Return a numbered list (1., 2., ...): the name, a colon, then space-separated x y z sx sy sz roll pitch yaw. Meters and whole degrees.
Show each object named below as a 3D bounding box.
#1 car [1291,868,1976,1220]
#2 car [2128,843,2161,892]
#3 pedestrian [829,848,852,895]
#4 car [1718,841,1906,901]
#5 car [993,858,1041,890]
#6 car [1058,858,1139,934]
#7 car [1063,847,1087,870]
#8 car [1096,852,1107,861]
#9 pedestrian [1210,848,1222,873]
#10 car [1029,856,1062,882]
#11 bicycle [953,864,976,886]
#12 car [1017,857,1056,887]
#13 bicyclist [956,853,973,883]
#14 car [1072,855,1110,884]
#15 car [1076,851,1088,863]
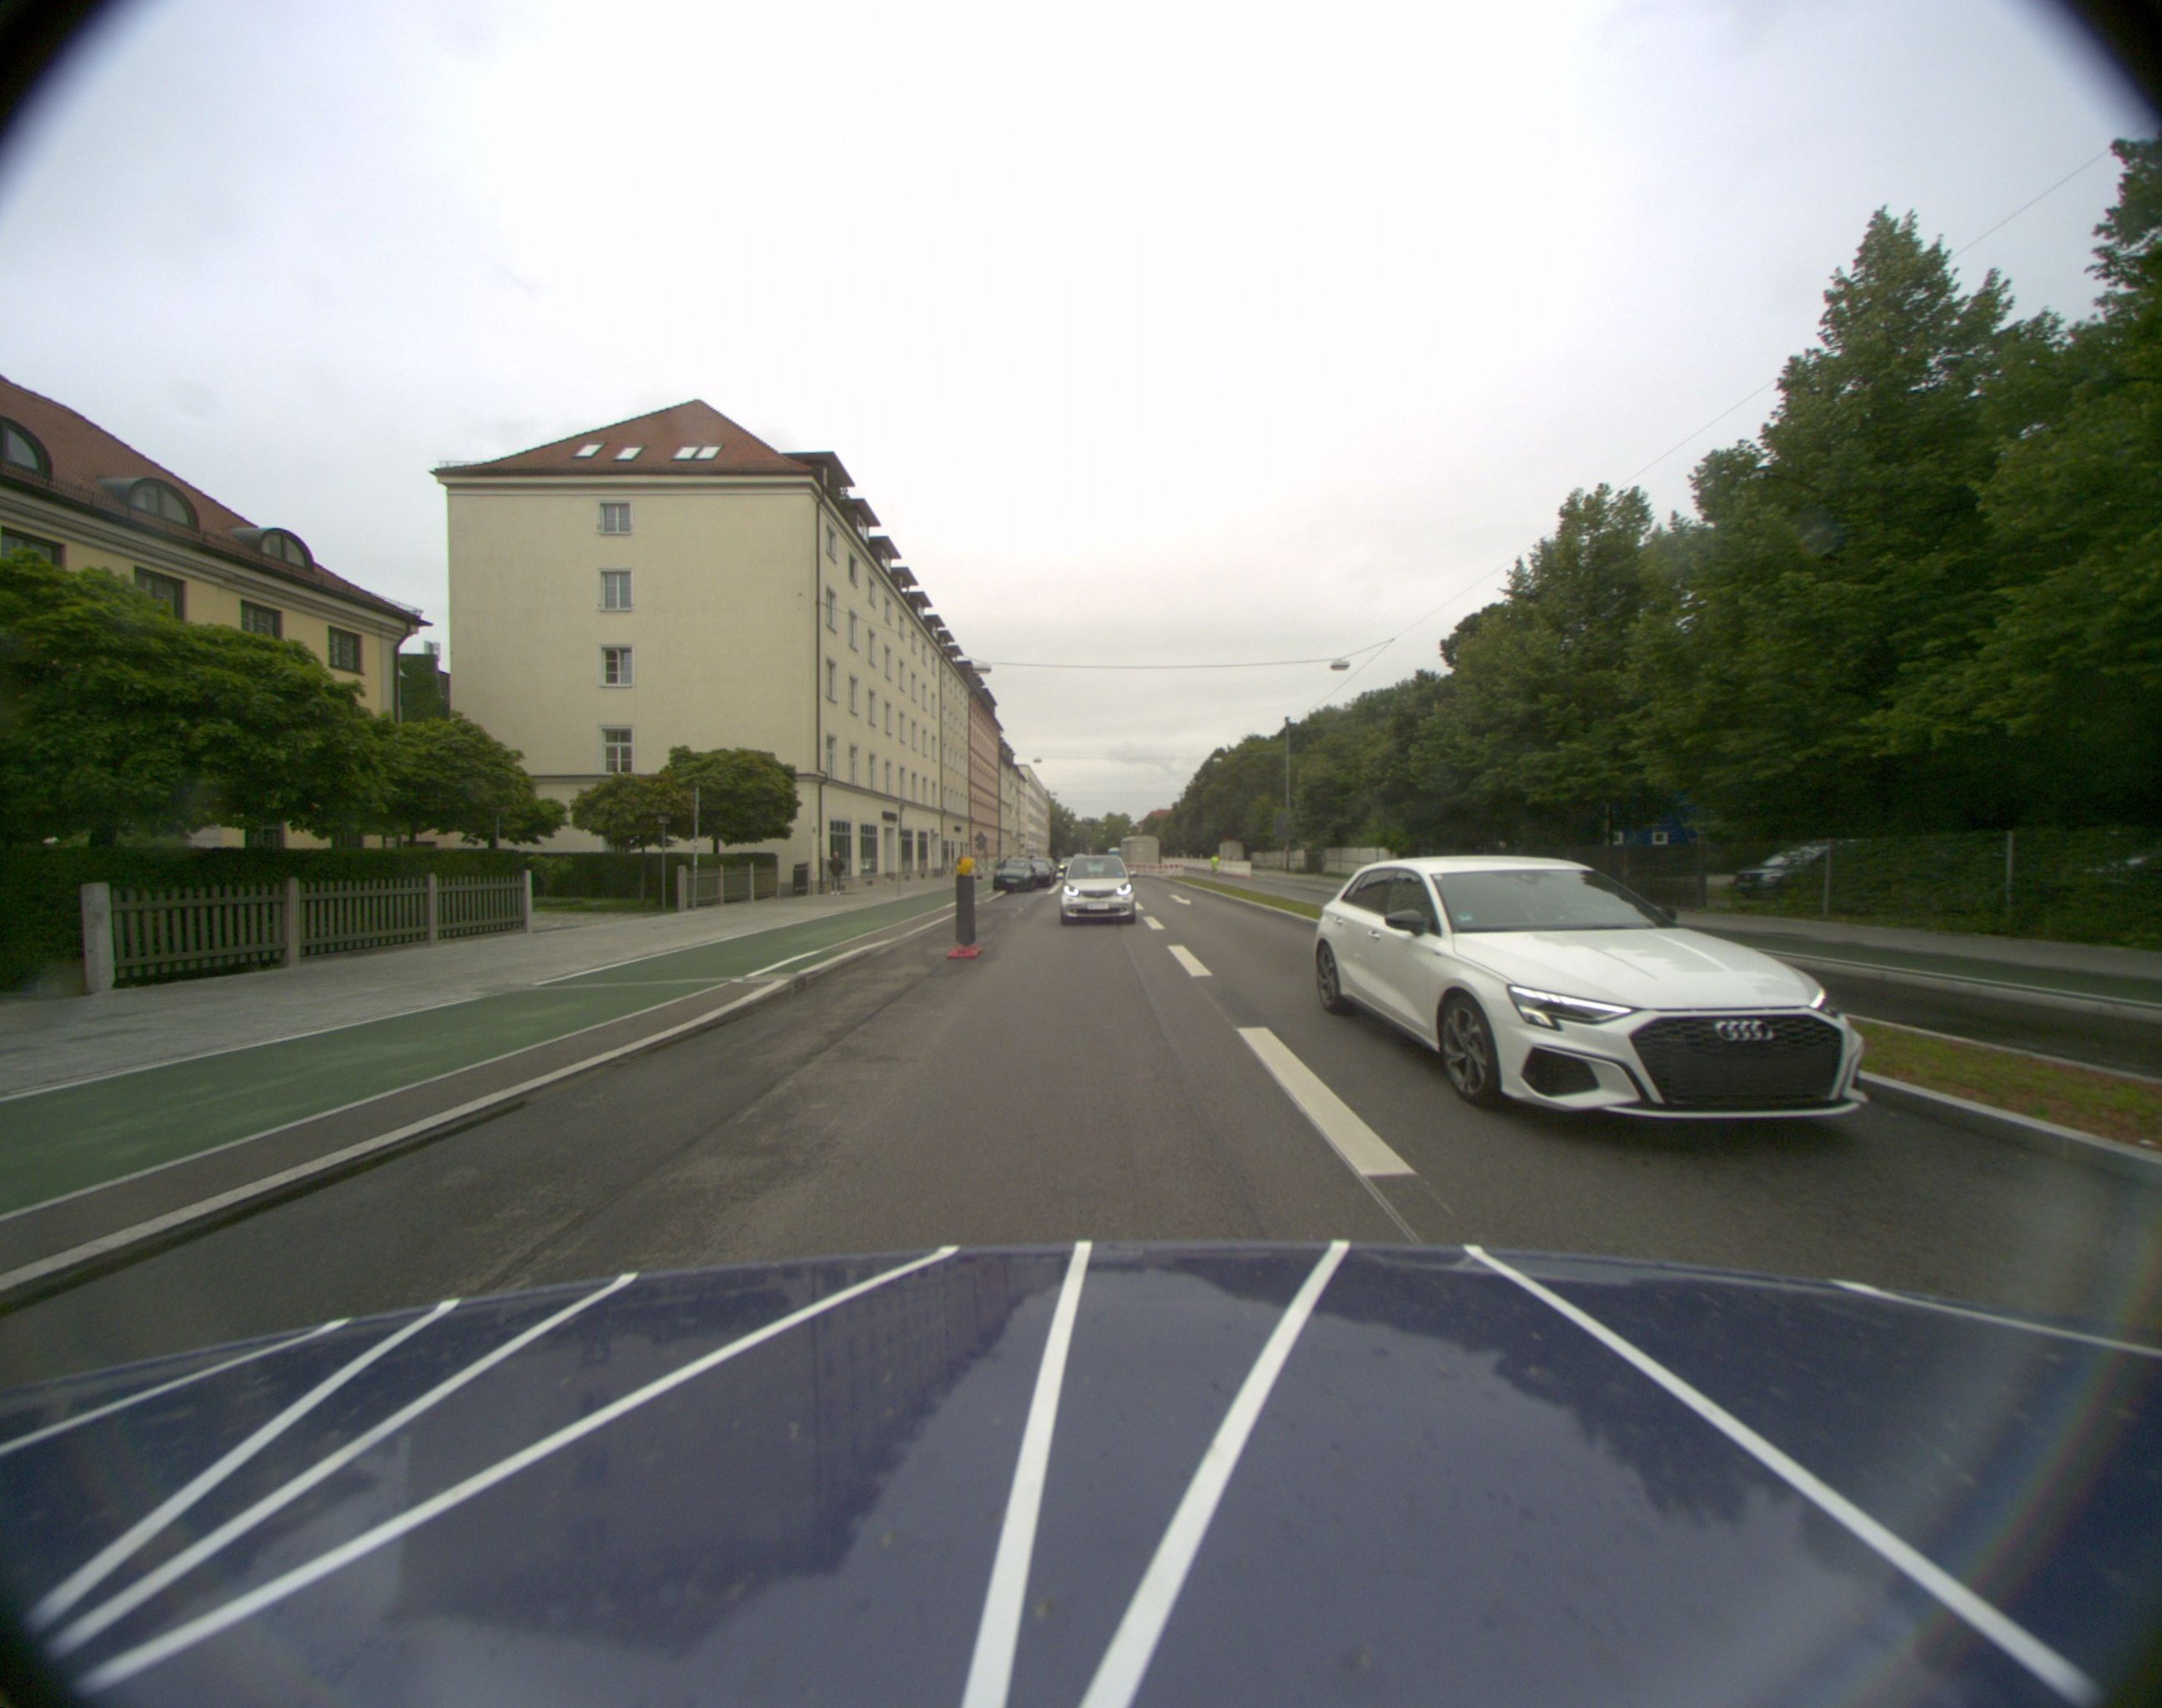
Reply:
1. car: 3.089 0.893 5.620 1.818 1.416 4.452 -2 0 0
2. car: 33.120 0.394 21.179 1.999 1.440 4.260 -2 0 -1
3. pedestrian: -9.754 0.700 30.815 0.655 1.863 0.826 1 1 1
4. car: 23.118 0.514 24.171 4.036 1.700 1.875 -2 3 5
5. car: -2.845 0.874 34.463 1.739 1.313 4.000 -1 0 1
6. car: 0.392 0.874 17.645 1.633 1.494 4.000 -1 0 1
7. car: -0.510 0.368 67.674 1.998 2.002 4.000 0 0 0
8. car: 3.329 0.478 125.339 1.739 1.425 4.000 -1 0 1
9. pedestrian: 10.626 0.509 59.779 0.757 2.002 0.867 -2 1 1
10. car: -2.104 0.868 45.976 1.739 1.425 4.000 -1 0 1
11. bicycle: -6.097 1.083 39.895 0.751 1.026 2.531 -2 0 1
12. car: -2.282 0.893 39.664 1.739 1.425 4.000 -1 0 1
13. bicyclist: -6.106 0.730 39.955 0.724 1.543 0.858 -2 1 0
14. car: 0.537 0.794 41.520 1.922 1.433 4.306 -2 0 1
15. car: 0.152 0.466 126.937 1.998 2.002 4.000 0 0 1
